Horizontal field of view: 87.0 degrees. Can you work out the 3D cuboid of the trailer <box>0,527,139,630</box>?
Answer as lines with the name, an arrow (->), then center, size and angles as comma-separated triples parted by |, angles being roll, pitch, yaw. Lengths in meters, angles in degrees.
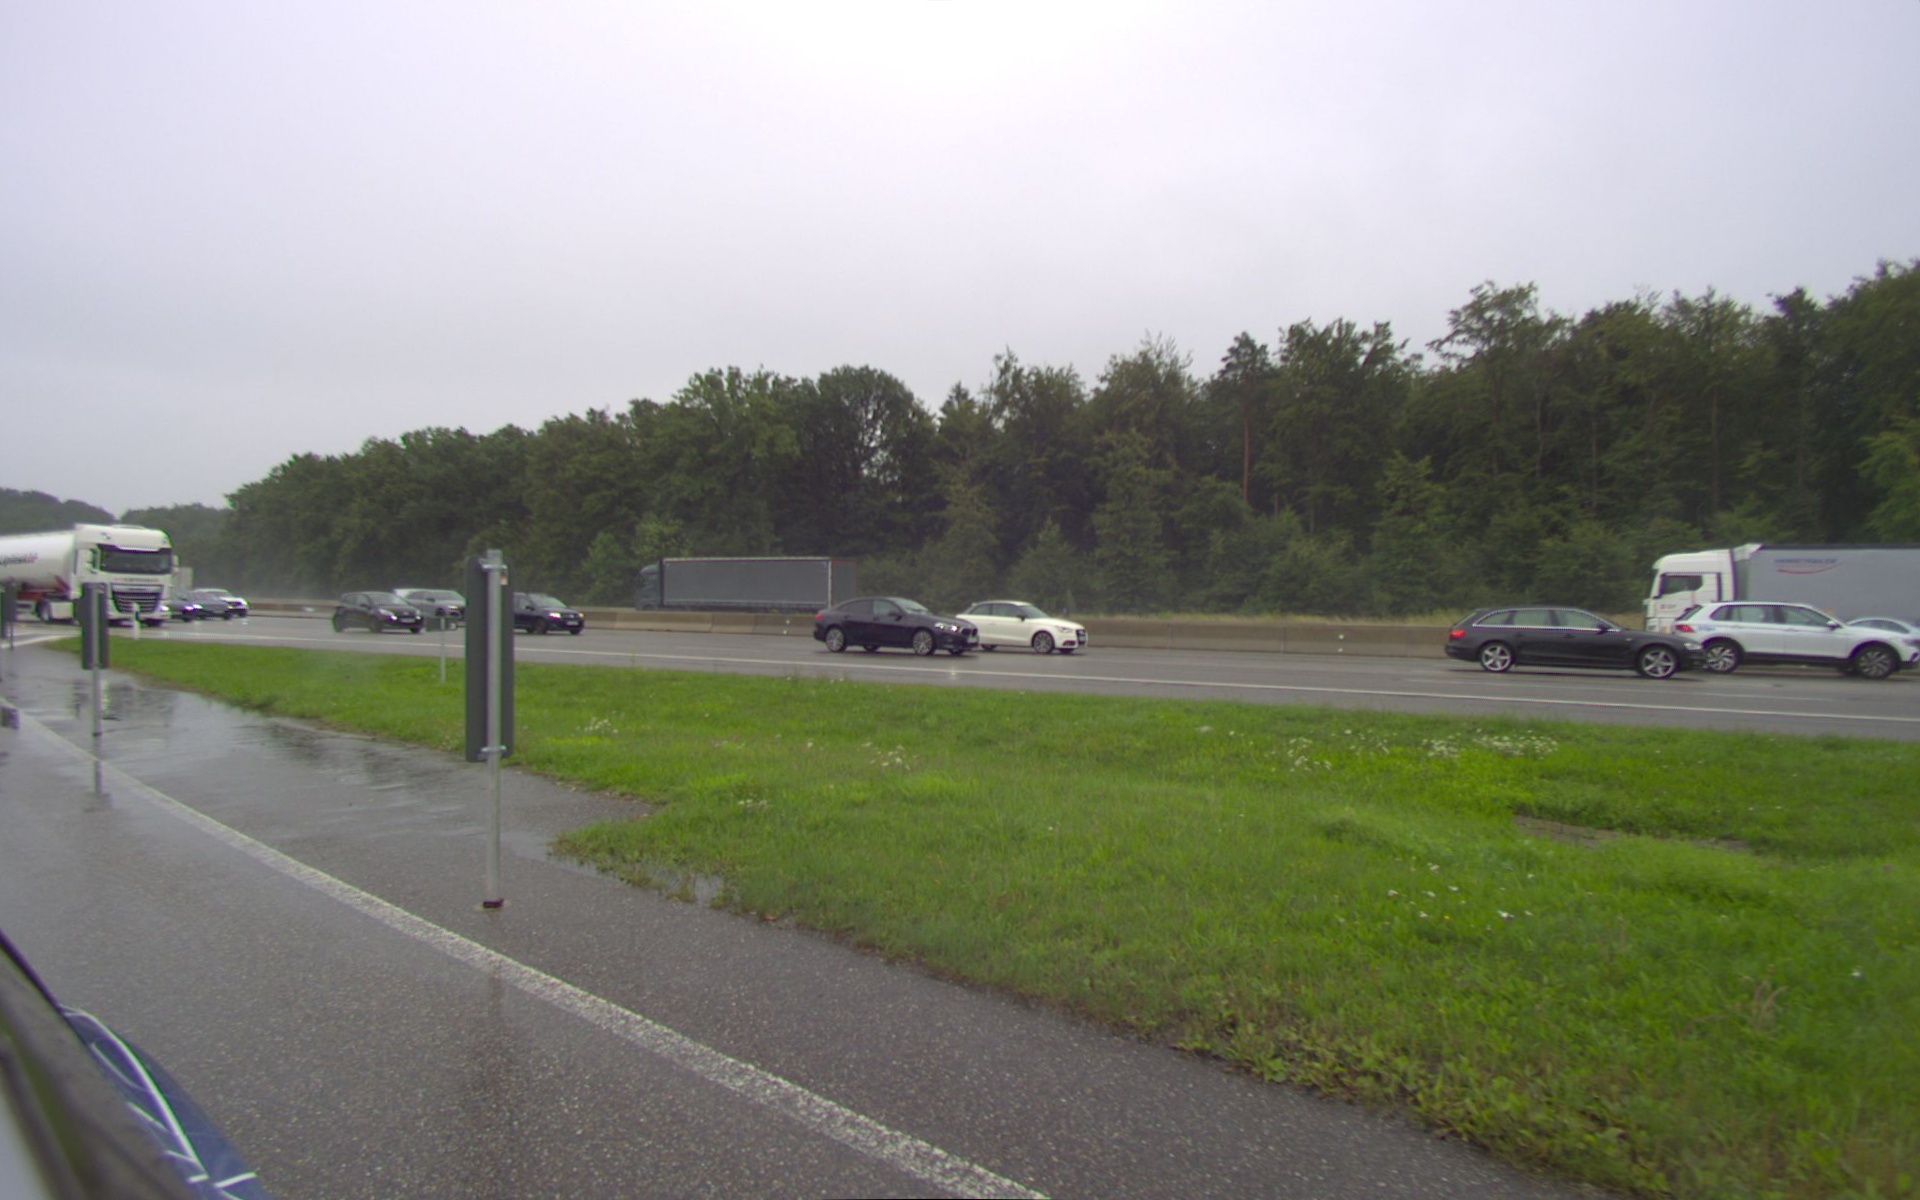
trailer -> -39.785, -0.845, 43.985 | 11.001, 4.056, 2.742 | 0, -1, 31

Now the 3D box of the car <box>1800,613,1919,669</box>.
car -> 24.695, 1.078, 26.909 | 3.385, 1.342, 1.400 | 0, 3, 30

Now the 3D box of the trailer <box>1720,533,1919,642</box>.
trailer -> 34.563, -0.547, 34.097 | 14.005, 3.564, 2.706 | -2, 3, 31

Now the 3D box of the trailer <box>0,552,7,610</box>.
trailer -> -65.730, -1.184, 65.114 | 15.076, 3.531, 2.663 | 1, 3, 32

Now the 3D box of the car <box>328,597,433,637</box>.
car -> -21.182, 0.608, 36.960 | 3.990, 1.383, 1.803 | 0, -1, 34

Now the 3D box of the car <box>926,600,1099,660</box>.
car -> 1.430, 0.794, 28.261 | 4.487, 1.492, 1.866 | 1, -1, 32

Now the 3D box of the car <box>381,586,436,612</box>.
car -> -44.764, -0.104, 82.165 | 4.468, 2.028, 1.979 | 1, 2, 32

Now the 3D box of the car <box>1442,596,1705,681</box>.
car -> 12.672, 0.743, 21.167 | 4.513, 1.552, 1.979 | 1, -1, 32

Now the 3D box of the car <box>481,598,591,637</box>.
car -> -16.141, 0.674, 38.529 | 4.109, 1.425, 1.805 | -1, -1, 31

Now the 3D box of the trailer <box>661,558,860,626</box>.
trailer -> -12.400, -0.440, 61.822 | 13.358, 3.840, 3.006 | -1, 1, 31

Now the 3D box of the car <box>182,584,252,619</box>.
car -> -44.042, 0.106, 59.984 | 3.986, 2.029, 1.979 | 0, 0, 31

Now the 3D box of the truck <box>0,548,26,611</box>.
truck -> -58.918, -1.203, 60.823 | 5.308, 3.683, 2.669 | 0, 3, 32

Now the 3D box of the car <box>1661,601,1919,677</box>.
car -> 18.471, 0.819, 22.563 | 4.512, 1.552, 1.979 | 0, -1, 32

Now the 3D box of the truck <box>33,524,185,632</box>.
truck -> -34.172, -0.822, 40.584 | 6.484, 4.039, 2.730 | 0, 0, 31

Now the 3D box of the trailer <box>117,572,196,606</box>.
trailer -> -86.637, -1.185, 108.995 | 13.447, 3.524, 2.627 | 0, 0, 33

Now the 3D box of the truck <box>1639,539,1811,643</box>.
truck -> 28.369, -0.322, 37.783 | 4.744, 3.560, 2.696 | -2, 3, 31

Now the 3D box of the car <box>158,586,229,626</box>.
car -> -40.073, 0.291, 52.883 | 3.991, 2.029, 1.841 | 0, 0, 35

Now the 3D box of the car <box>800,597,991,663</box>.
car -> -1.641, 0.713, 25.383 | 4.482, 1.492, 1.868 | 1, -1, 28

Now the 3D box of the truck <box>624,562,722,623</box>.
truck -> -18.571, -0.462, 65.528 | 5.623, 3.775, 3.020 | -1, 1, 31

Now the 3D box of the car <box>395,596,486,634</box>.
car -> -24.661, 0.703, 48.004 | 4.388, 1.681, 1.805 | 0, -2, 31
